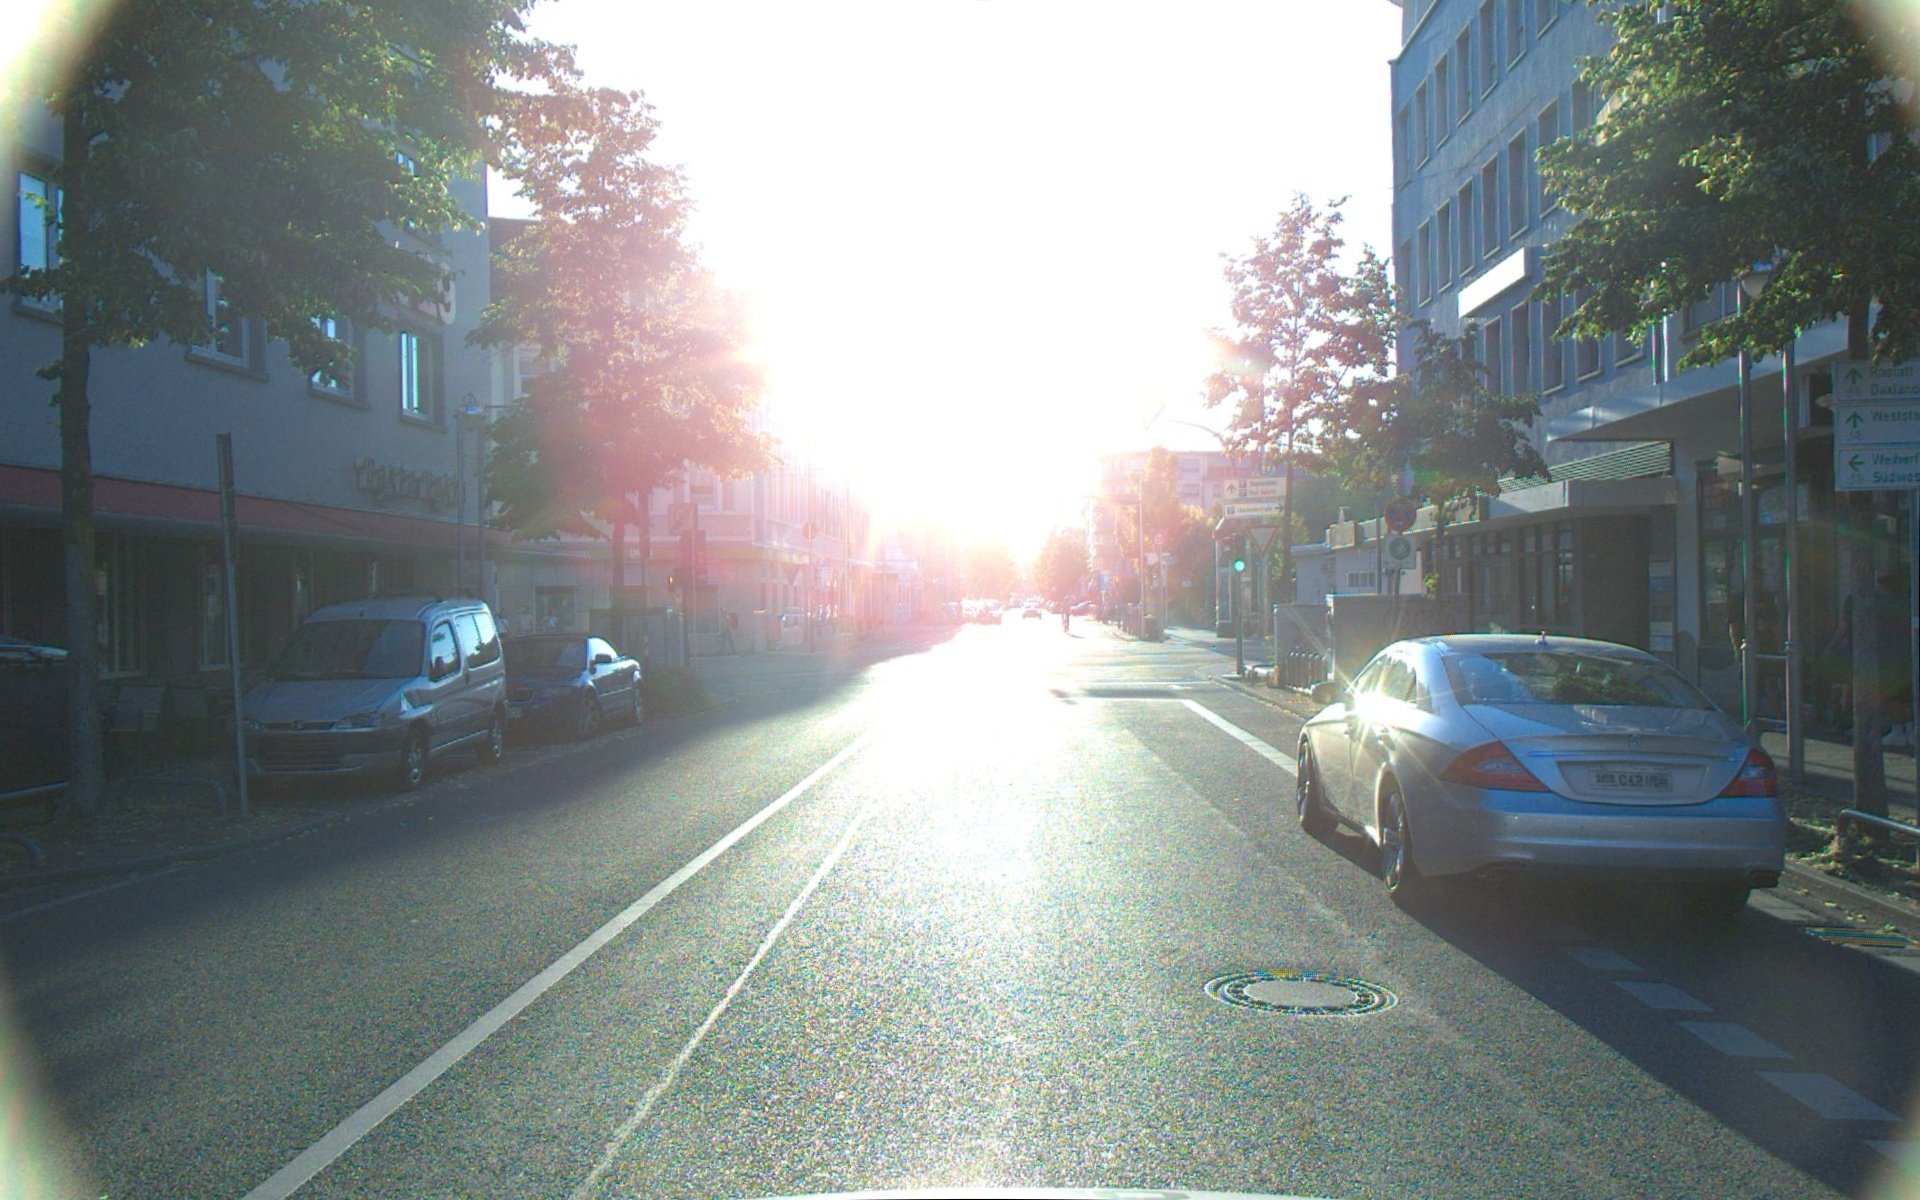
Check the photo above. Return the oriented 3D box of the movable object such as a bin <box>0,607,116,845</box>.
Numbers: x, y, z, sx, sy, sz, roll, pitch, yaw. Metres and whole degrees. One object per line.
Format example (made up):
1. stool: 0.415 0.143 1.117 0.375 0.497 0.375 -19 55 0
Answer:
1. movable object such as a bin: -7.578 0.919 12.831 1.255 1.702 1.440 2 0 0

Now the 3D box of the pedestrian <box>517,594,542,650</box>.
1. pedestrian: -13.982 0.718 53.702 0.687 1.776 0.636 -1 0 -19

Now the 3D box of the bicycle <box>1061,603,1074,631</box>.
1. bicycle: 5.629 0.872 86.544 0.664 1.426 2.231 -1 0 4

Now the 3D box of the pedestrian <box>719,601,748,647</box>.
1. pedestrian: -7.928 0.828 57.816 0.854 1.575 0.695 -1 0 -19

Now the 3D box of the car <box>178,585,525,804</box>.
1. car: -5.778 0.809 16.304 1.876 1.818 4.147 -2 0 -1

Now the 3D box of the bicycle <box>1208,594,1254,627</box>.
1. bicycle: 13.475 0.511 82.237 2.176 1.549 0.681 -1 0 4

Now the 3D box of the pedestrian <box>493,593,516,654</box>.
1. pedestrian: -14.827 0.752 53.828 0.523 1.962 0.633 -1 0 -33

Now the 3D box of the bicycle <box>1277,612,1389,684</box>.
1. bicycle: 6.648 0.856 29.520 1.872 1.224 0.470 -1 0 4

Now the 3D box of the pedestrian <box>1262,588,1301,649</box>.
1. pedestrian: 9.608 0.552 49.377 0.789 1.756 0.992 -3 -1 30

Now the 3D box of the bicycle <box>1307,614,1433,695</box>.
1. bicycle: 6.507 0.856 26.268 1.877 1.224 0.469 -1 0 -9

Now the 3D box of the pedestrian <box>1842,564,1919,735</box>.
1. pedestrian: 9.448 0.486 16.733 0.628 1.689 0.777 1 0 3

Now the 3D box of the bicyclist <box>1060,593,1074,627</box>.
1. bicyclist: 5.605 0.536 86.448 0.664 1.737 0.670 -1 0 4

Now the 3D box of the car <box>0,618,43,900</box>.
1. car: -6.276 0.908 7.151 1.875 1.537 4.640 -2 0 2

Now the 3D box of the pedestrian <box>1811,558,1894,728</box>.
1. pedestrian: 9.701 0.457 17.984 0.571 1.814 0.526 1 0 -17

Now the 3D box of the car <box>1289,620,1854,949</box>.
1. car: 3.227 0.863 9.788 1.763 1.402 4.553 1 0 2

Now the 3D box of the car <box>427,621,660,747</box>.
1. car: -5.476 1.054 22.363 1.875 1.410 4.383 -2 0 2

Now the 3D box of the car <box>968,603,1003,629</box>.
1. car: 1.823 1.099 116.152 2.255 1.708 5.534 -1 0 3

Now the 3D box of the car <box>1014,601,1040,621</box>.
1. car: 6.074 0.989 149.491 2.255 1.708 5.534 -1 0 3

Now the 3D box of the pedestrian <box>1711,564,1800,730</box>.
1. pedestrian: 9.010 0.516 18.759 0.693 1.839 0.650 1 0 3

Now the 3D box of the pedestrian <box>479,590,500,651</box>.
1. pedestrian: -15.209 0.657 53.424 0.490 1.962 0.569 -1 0 -32

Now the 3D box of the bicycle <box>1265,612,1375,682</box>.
1. bicycle: 6.525 0.849 30.019 1.872 1.224 0.470 -1 0 4

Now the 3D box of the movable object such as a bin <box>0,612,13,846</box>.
1. movable object such as a bin: -7.586 0.915 11.398 1.254 1.702 1.369 2 0 0

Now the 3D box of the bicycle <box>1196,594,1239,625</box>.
1. bicycle: 13.287 0.474 85.395 2.175 1.549 0.681 -1 0 7

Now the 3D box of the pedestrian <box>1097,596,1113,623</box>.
1. pedestrian: 9.829 0.656 112.230 0.787 1.817 0.994 -3 -1 17

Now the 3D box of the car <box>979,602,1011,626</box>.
1. car: 2.638 1.048 123.718 2.255 1.708 5.534 -1 0 3

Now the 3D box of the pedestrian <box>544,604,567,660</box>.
1. pedestrian: -13.231 1.039 54.079 0.636 1.809 0.668 -1 0 -19
